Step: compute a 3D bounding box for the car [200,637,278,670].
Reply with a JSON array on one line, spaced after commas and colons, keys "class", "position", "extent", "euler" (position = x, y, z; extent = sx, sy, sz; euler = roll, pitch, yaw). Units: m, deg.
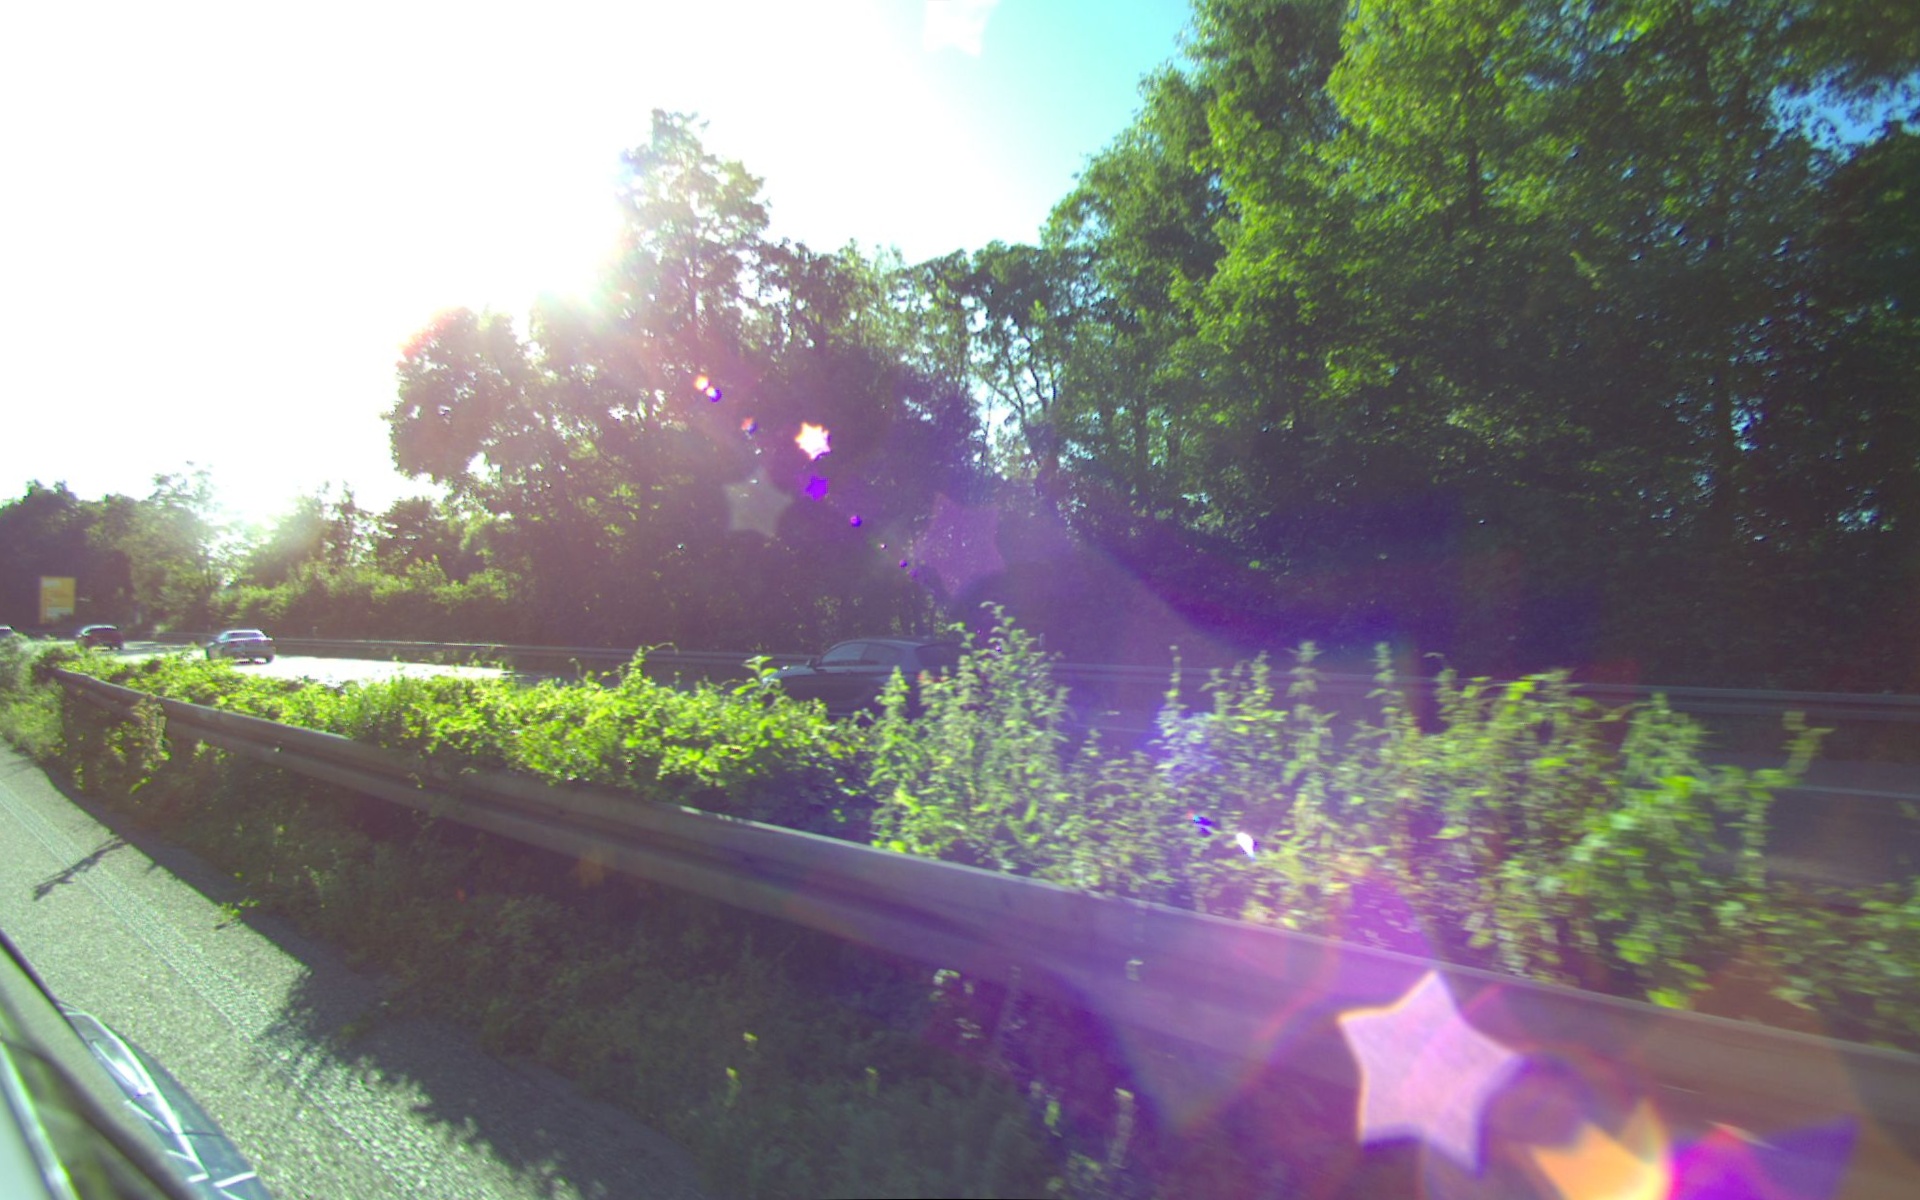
[{"class": "car", "position": [-29.404, 2.153, 41.219], "extent": [4.260, 1.232, 1.628], "euler": [-1, -1, 41]}]

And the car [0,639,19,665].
[{"class": "car", "position": [-59.354, 3.195, 62.158], "extent": [5.201, 1.436, 1.730], "euler": [-1, 0, 41]}]

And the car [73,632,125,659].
[{"class": "car", "position": [-51.421, 2.676, 60.410], "extent": [4.134, 1.436, 1.730], "euler": [-1, 0, 41]}]

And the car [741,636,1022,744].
[{"class": "car", "position": [-1.359, 1.317, 16.012], "extent": [4.553, 1.419, 1.715], "euler": [-2, -1, 41]}]
